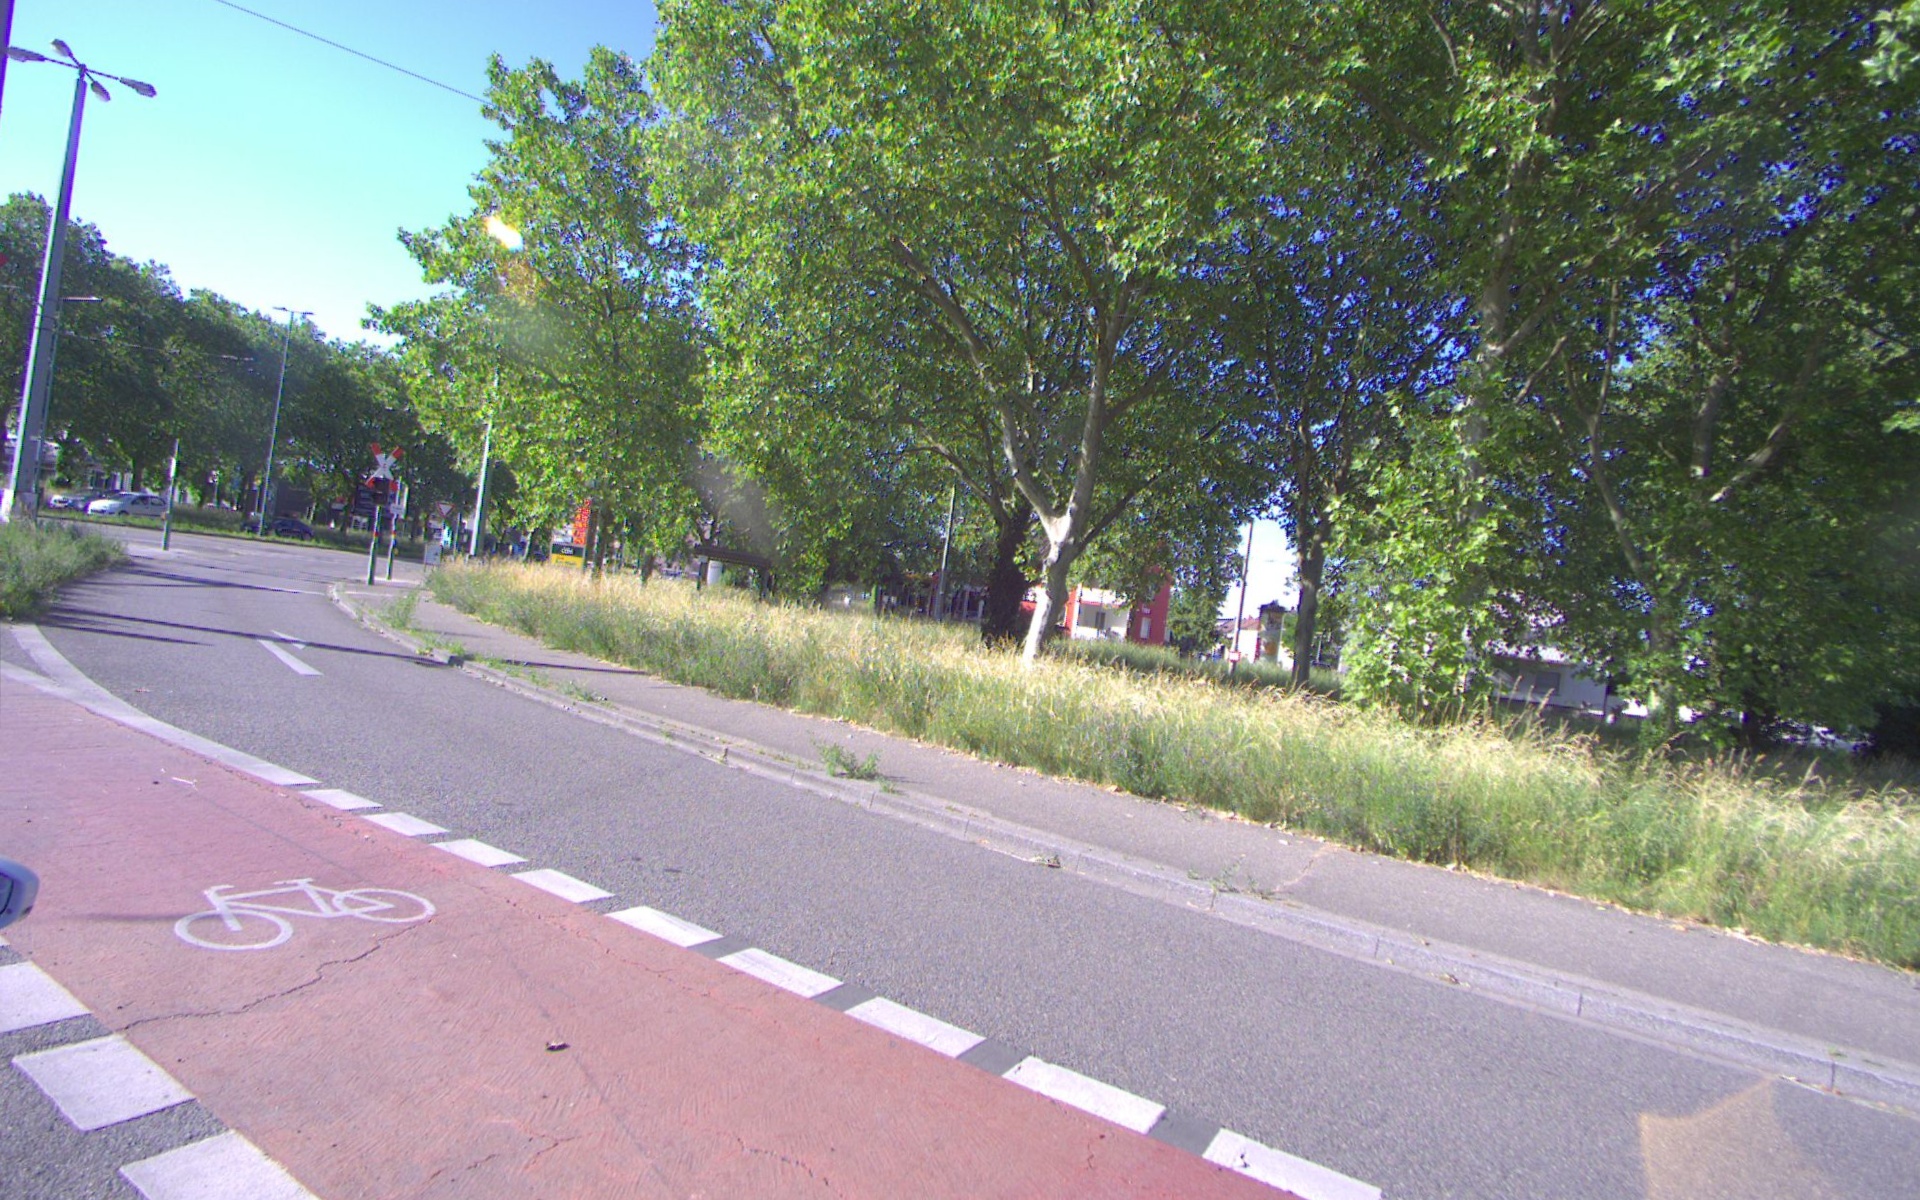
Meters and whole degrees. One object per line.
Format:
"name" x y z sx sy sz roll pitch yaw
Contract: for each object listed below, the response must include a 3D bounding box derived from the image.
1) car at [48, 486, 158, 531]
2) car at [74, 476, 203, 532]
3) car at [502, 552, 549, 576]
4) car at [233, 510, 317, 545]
"car" -45.258 -4.807 53.231 1.845 1.596 4.006 8 -2 11
"car" -42.077 -4.848 51.679 1.962 2.038 4.907 8 -1 9
"car" -35.290 -2.894 81.852 1.562 1.563 3.986 8 -1 7
"car" -43.928 -4.644 64.666 1.661 1.593 4.528 8 -1 9
